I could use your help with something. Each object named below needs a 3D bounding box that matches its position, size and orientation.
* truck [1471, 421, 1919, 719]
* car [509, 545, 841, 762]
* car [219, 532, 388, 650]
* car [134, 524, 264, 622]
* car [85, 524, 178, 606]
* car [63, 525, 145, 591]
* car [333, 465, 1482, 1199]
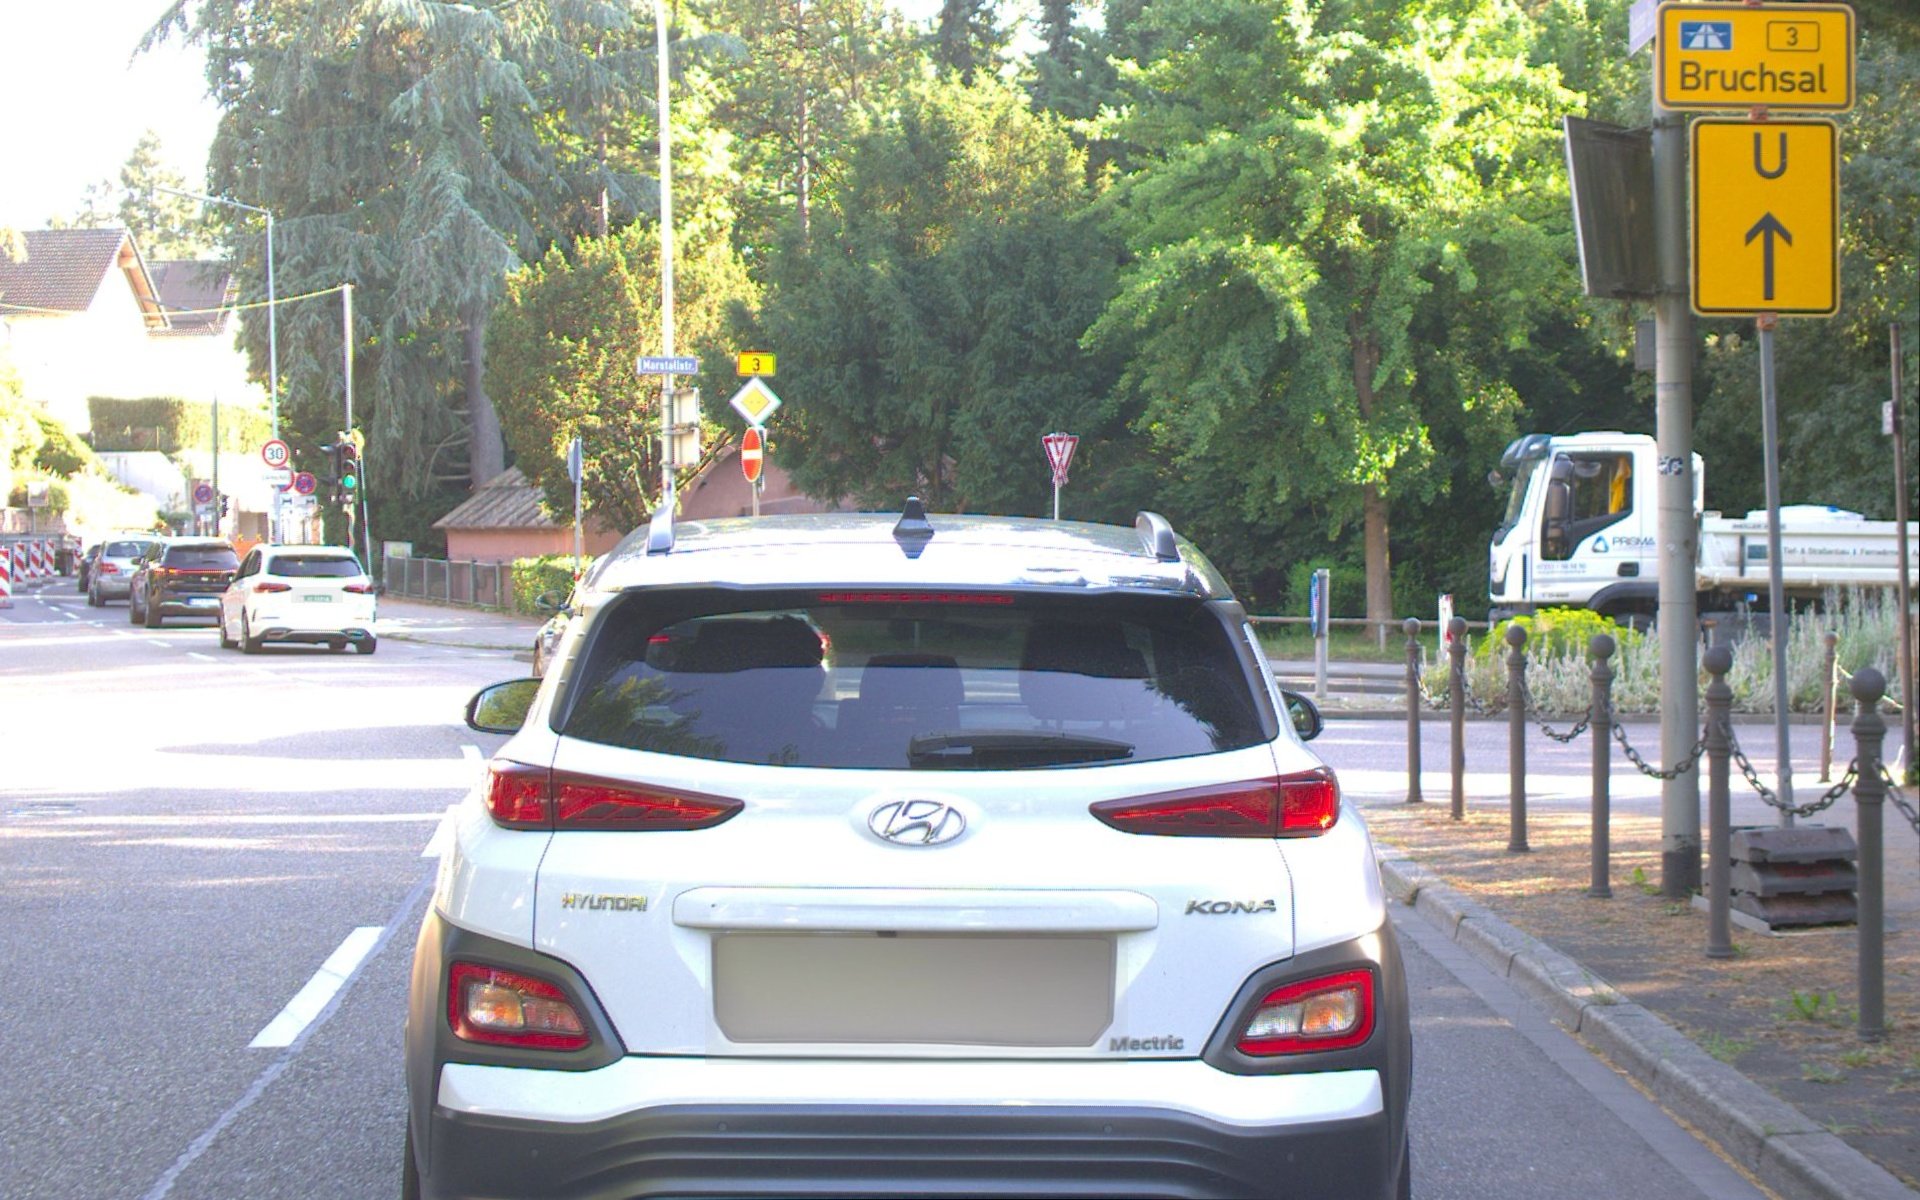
[{"bbox_3d":[8.767,-0.292,35.799,6.588,2.885,2.433,2,1,5],"label":"truck"},{"bbox_3d":[-2.218,0.340,25.661,1.707,1.429,4.366,2,1,-15],"label":"car"},{"bbox_3d":[-9.301,-0.155,48.499,1.805,1.532,4.001,1,1,-18],"label":"car"},{"bbox_3d":[-13.744,-0.505,61.940,1.831,1.656,4.001,1,1,-19],"label":"car"},{"bbox_3d":[-18.586,-0.807,77.018,1.831,1.735,4.001,1,1,-16],"label":"car"},{"bbox_3d":[-22.608,-1.129,90.691,1.831,1.656,4.001,1,1,-17],"label":"car"},{"bbox_3d":[-0.115,0.561,7.545,1.820,1.568,4.000,2,1,-1],"label":"car"}]
